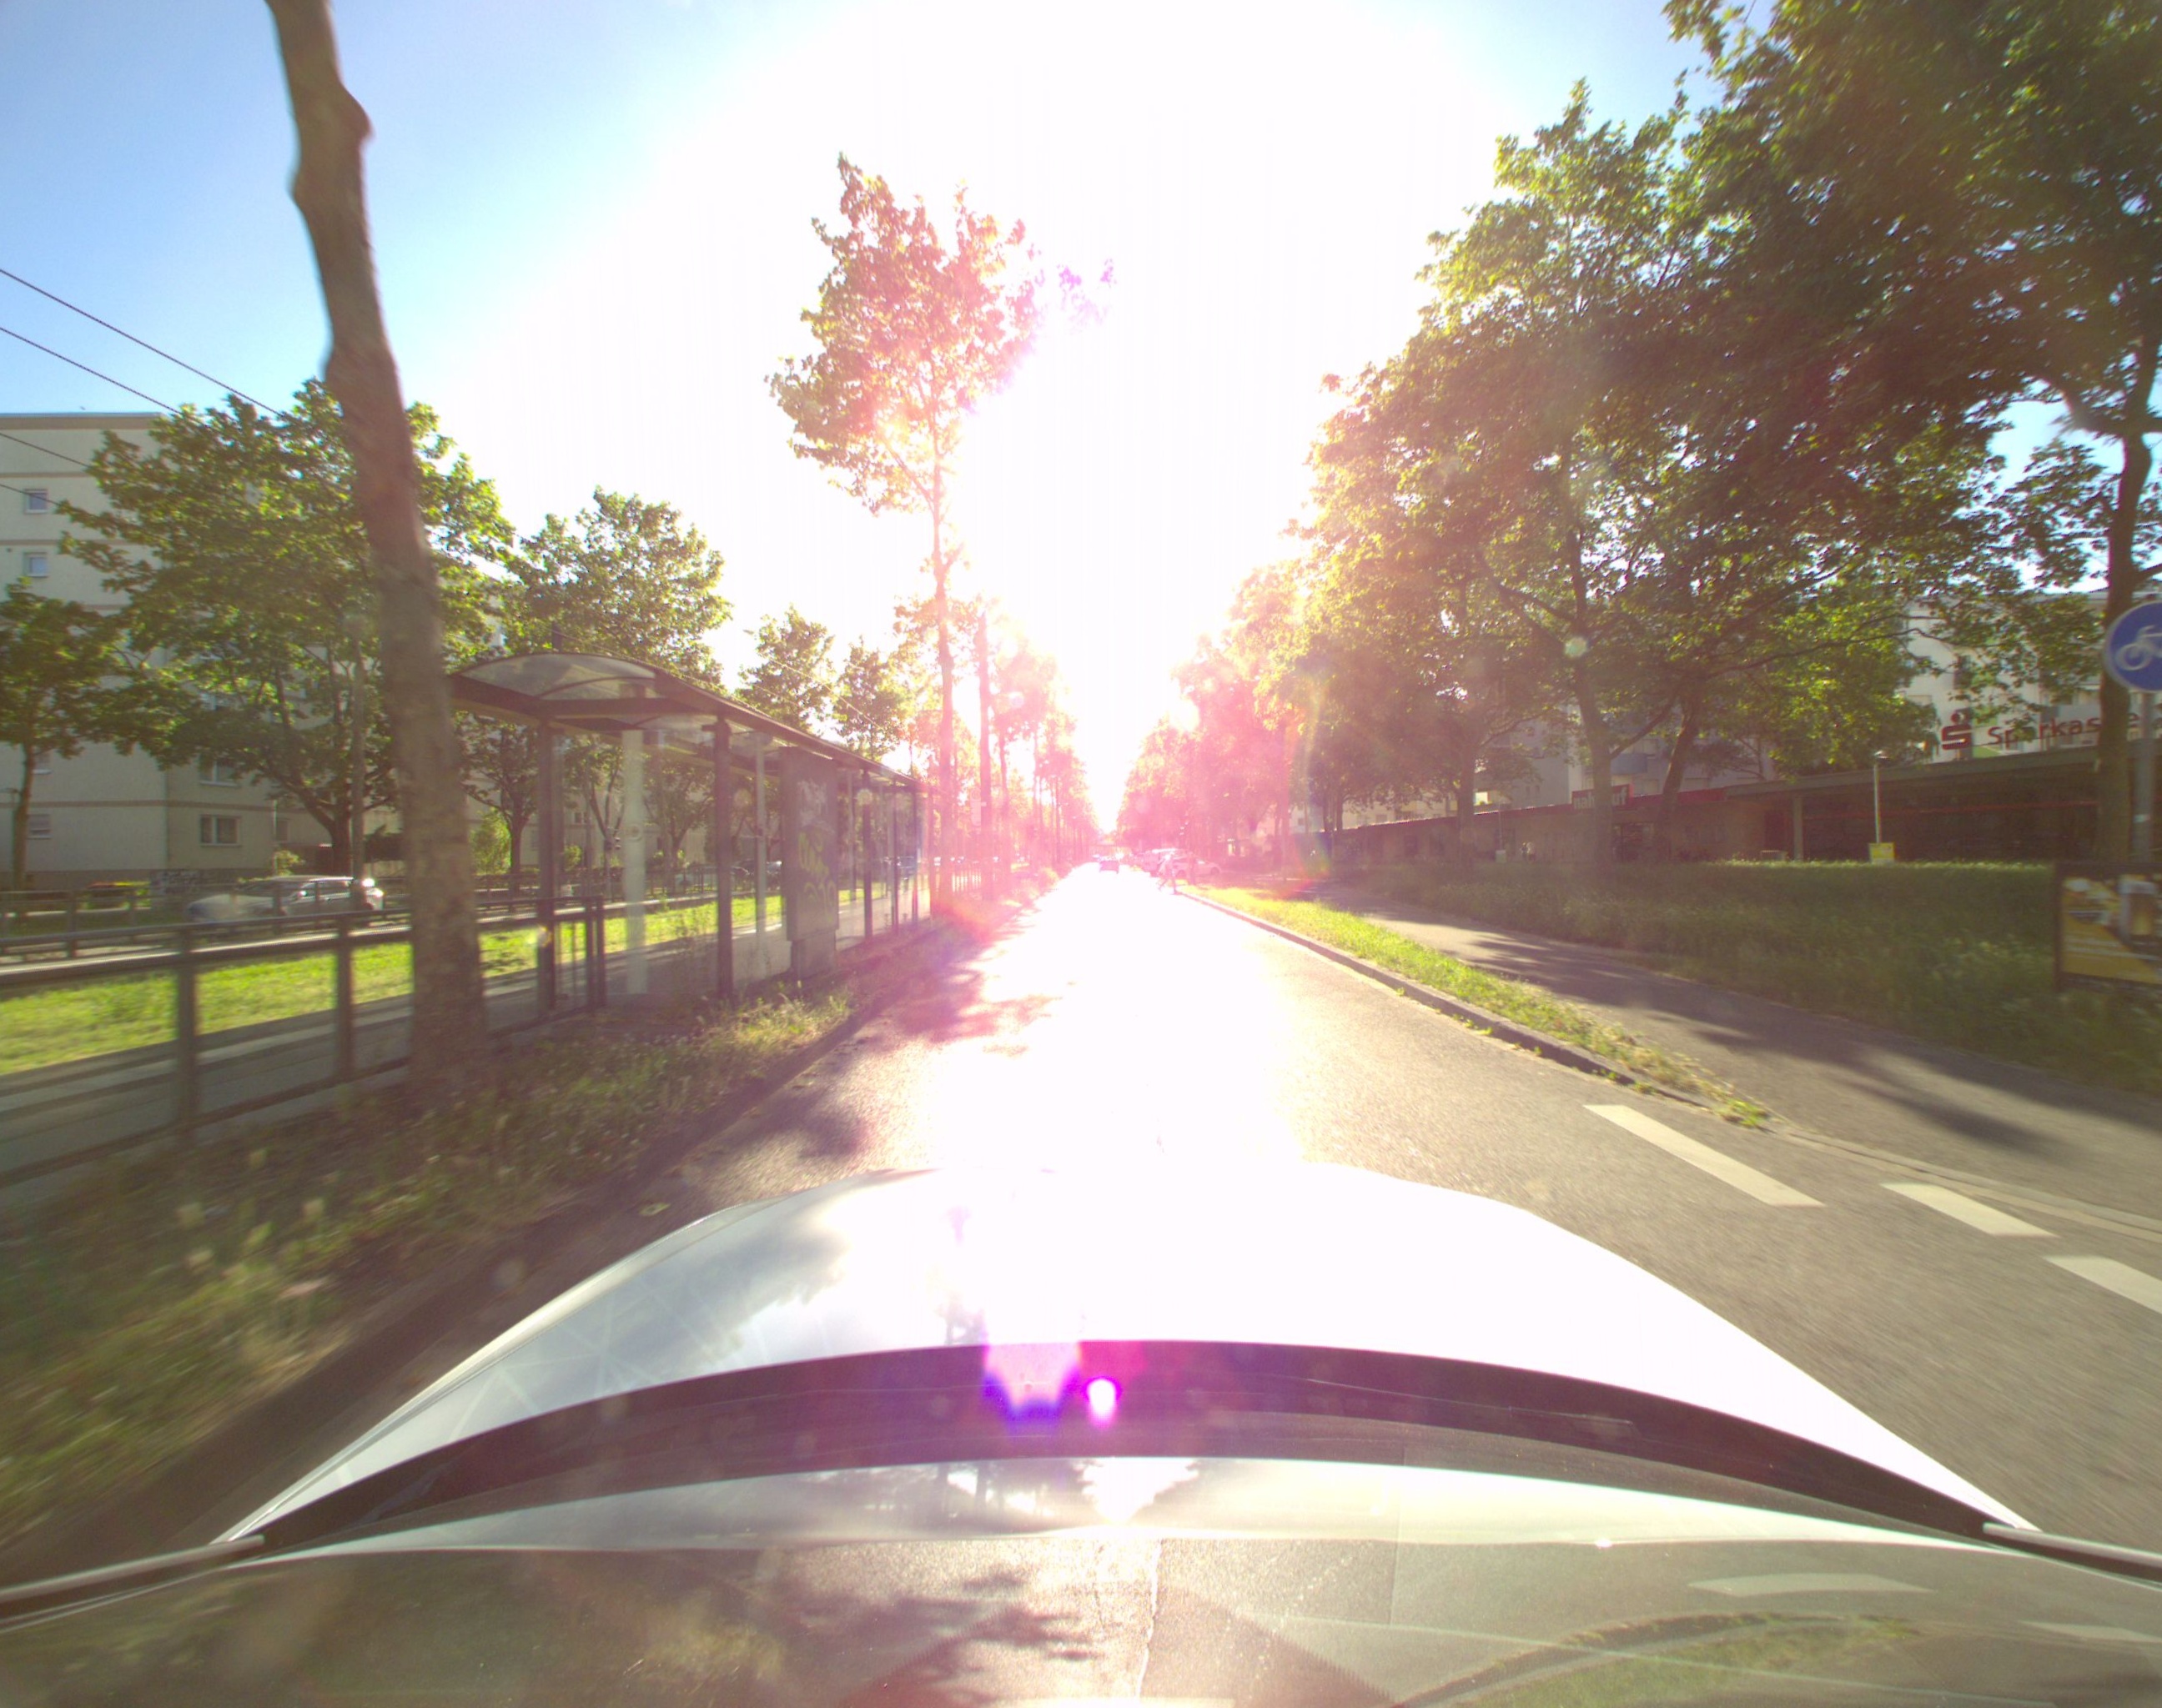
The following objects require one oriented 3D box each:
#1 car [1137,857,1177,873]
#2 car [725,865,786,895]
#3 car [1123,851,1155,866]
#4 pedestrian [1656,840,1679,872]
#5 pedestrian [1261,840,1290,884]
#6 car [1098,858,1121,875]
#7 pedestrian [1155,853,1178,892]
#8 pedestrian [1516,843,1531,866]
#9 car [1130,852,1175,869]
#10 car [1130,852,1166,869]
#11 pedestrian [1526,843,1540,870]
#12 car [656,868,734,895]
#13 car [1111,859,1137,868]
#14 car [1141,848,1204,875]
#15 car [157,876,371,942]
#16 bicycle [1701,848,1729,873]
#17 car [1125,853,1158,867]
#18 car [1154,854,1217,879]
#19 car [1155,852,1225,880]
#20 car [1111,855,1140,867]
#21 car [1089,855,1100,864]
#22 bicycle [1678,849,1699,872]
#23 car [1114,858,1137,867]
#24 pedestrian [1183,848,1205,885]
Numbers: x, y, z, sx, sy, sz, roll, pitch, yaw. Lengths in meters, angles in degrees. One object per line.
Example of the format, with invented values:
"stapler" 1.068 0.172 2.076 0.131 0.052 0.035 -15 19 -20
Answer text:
"car" 7.410 1.050 78.894 3.961 1.373 1.568 -2 -1 -43
"car" -18.822 1.473 47.290 1.706 1.546 3.937 -1 0 3
"car" 7.656 0.638 106.870 4.105 1.811 1.632 -2 -1 -39
"pedestrian" 30.083 0.089 41.772 0.669 1.584 0.715 -1 0 -4
"pedestrian" 8.492 0.351 35.552 0.933 1.885 0.791 0 0 -40
"car" 2.399 1.051 69.414 1.915 1.411 4.000 0 0 1
"pedestrian" 3.814 0.807 36.265 0.835 1.722 0.833 -1 0 16
"pedestrian" 28.405 0.020 52.233 0.530 1.430 0.715 -1 0 -4
"car" 6.589 0.575 74.620 4.208 1.412 1.699 -2 -1 -43
"car" 7.695 0.726 93.282 4.049 1.705 1.740 -2 -1 -40
"pedestrian" 29.134 0.143 52.488 0.494 1.700 0.715 -1 0 -4
"car" -23.150 1.636 48.925 1.817 1.435 3.849 -1 0 42
"car" 7.444 1.604 141.626 4.519 1.443 1.834 -2 -1 -43
"car" 6.832 0.556 60.679 4.694 1.853 1.809 -2 -1 -39
"car" -22.859 1.468 23.060 1.707 1.546 4.203 -1 0 2
"bicycle" 31.316 0.321 40.236 0.592 1.179 1.861 0 0 23
"car" 7.181 0.689 96.411 3.808 1.470 1.631 -2 -1 -43
"car" 7.258 0.864 56.540 4.011 1.429 1.782 -3 0 -31
"car" 6.758 0.738 50.411 4.011 1.469 1.743 -3 0 -31
"car" 6.718 1.082 121.573 4.341 1.717 1.617 -1 0 -38
"car" 2.377 0.946 143.667 1.842 1.535 3.868 -1 0 2
"bicycle" 31.163 0.328 41.766 0.591 1.179 1.862 0 0 29
"car" 8.284 1.614 151.546 4.354 1.424 1.834 -2 -1 -43
"pedestrian" 5.330 0.591 38.454 0.715 1.706 0.647 -2 -1 -33
